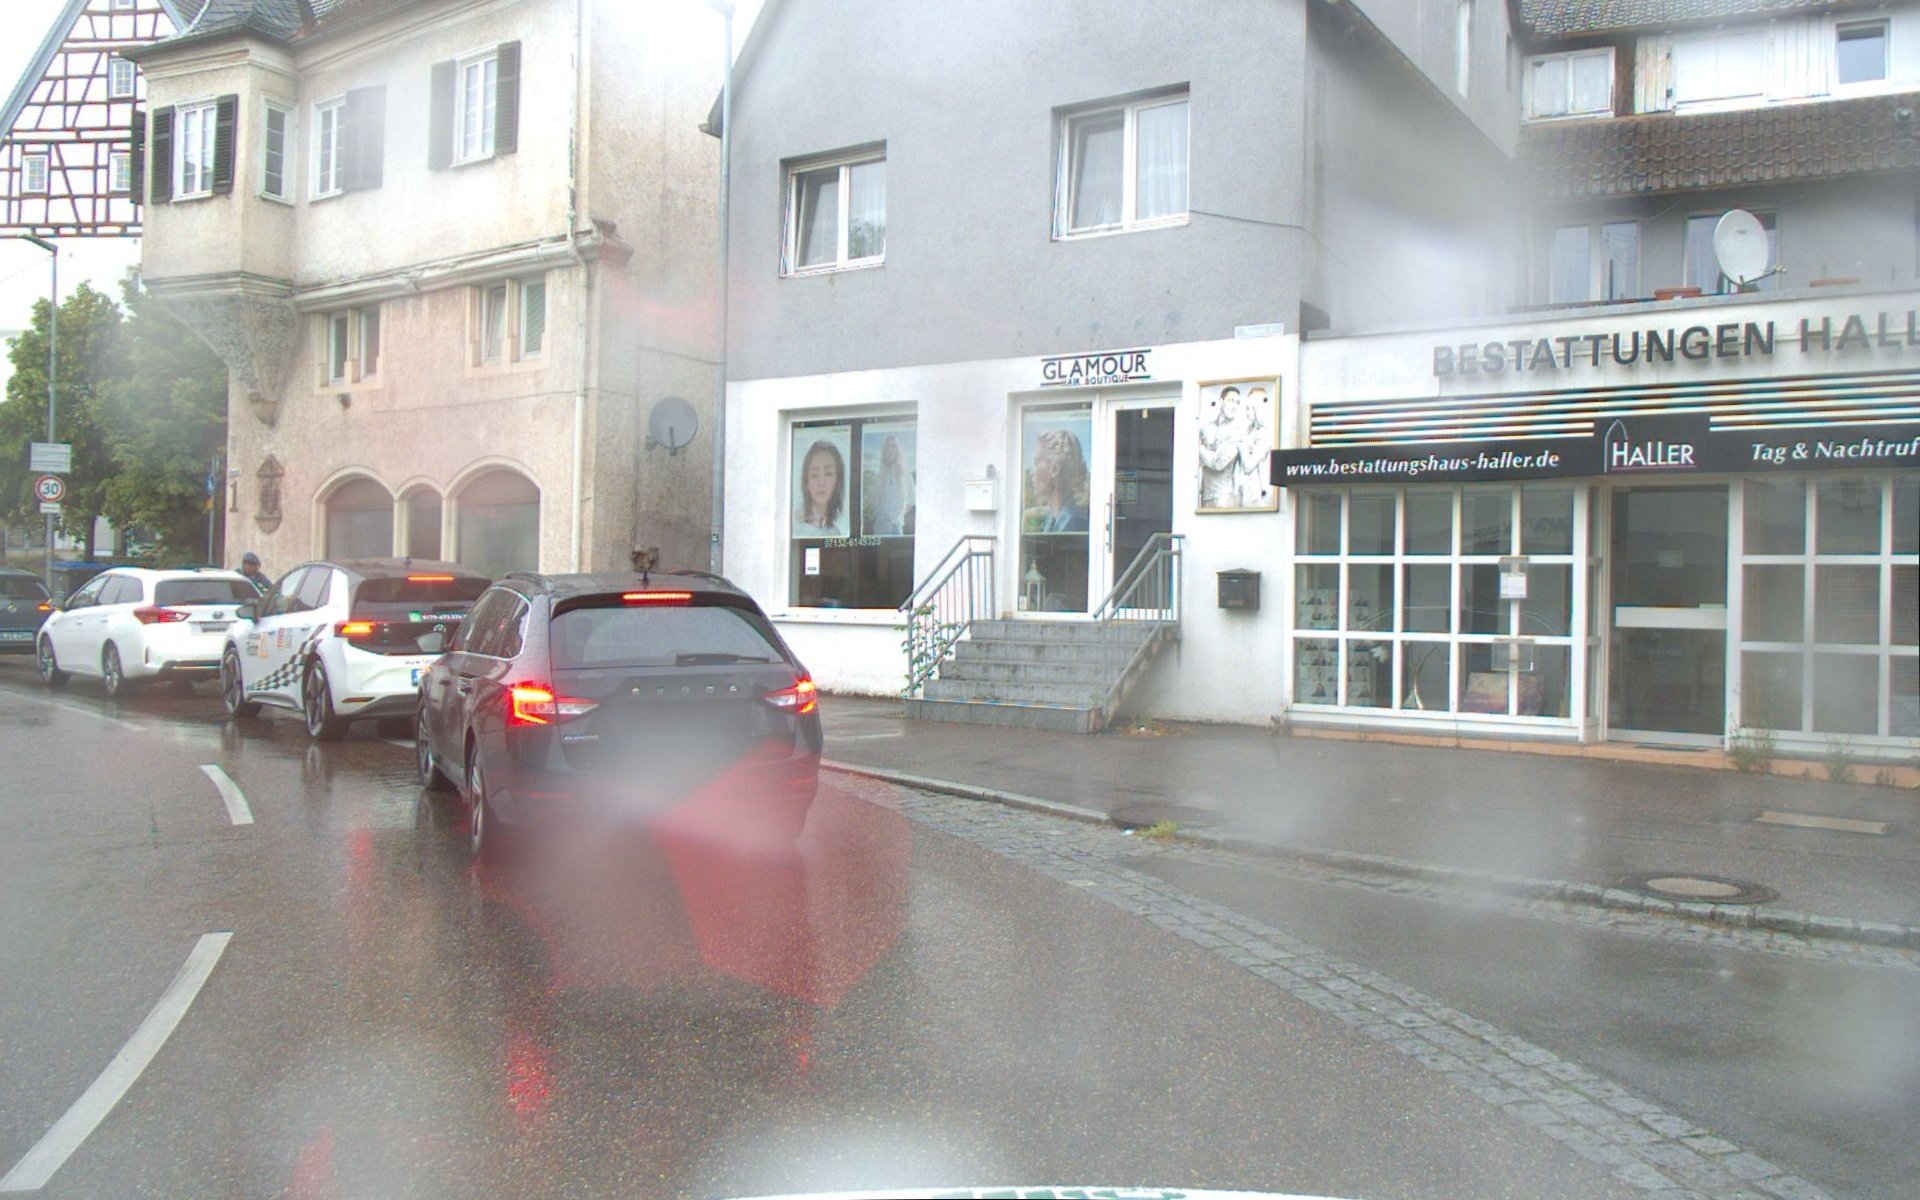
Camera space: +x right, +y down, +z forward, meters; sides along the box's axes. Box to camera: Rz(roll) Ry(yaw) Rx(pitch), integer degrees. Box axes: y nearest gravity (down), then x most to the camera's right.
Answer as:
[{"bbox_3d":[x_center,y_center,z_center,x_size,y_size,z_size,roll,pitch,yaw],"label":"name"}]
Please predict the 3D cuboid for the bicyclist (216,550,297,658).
[{"bbox_3d":[-10.467,0.050,24.615,1.010,1.544,0.682,2,1,38],"label":"bicyclist"}]

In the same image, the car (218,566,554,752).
[{"bbox_3d":[-5.466,0.451,15.462,1.843,1.498,3.947,1,1,-37],"label":"car"}]

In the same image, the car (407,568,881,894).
[{"bbox_3d":[-2.110,0.571,9.851,1.862,1.473,4.325,1,1,-24],"label":"car"}]

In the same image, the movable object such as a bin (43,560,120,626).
[{"bbox_3d":[-18.381,-0.144,34.600,1.149,1.336,1.168,1,1,-42],"label":"movable object such as a bin"}]

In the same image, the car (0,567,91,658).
[{"bbox_3d":[-15.214,0.144,25.487,3.928,1.324,1.988,1,1,42],"label":"car"}]

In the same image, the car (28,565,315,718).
[{"bbox_3d":[-9.599,0.419,19.967,1.877,1.624,4.255,1,1,-44],"label":"car"}]
